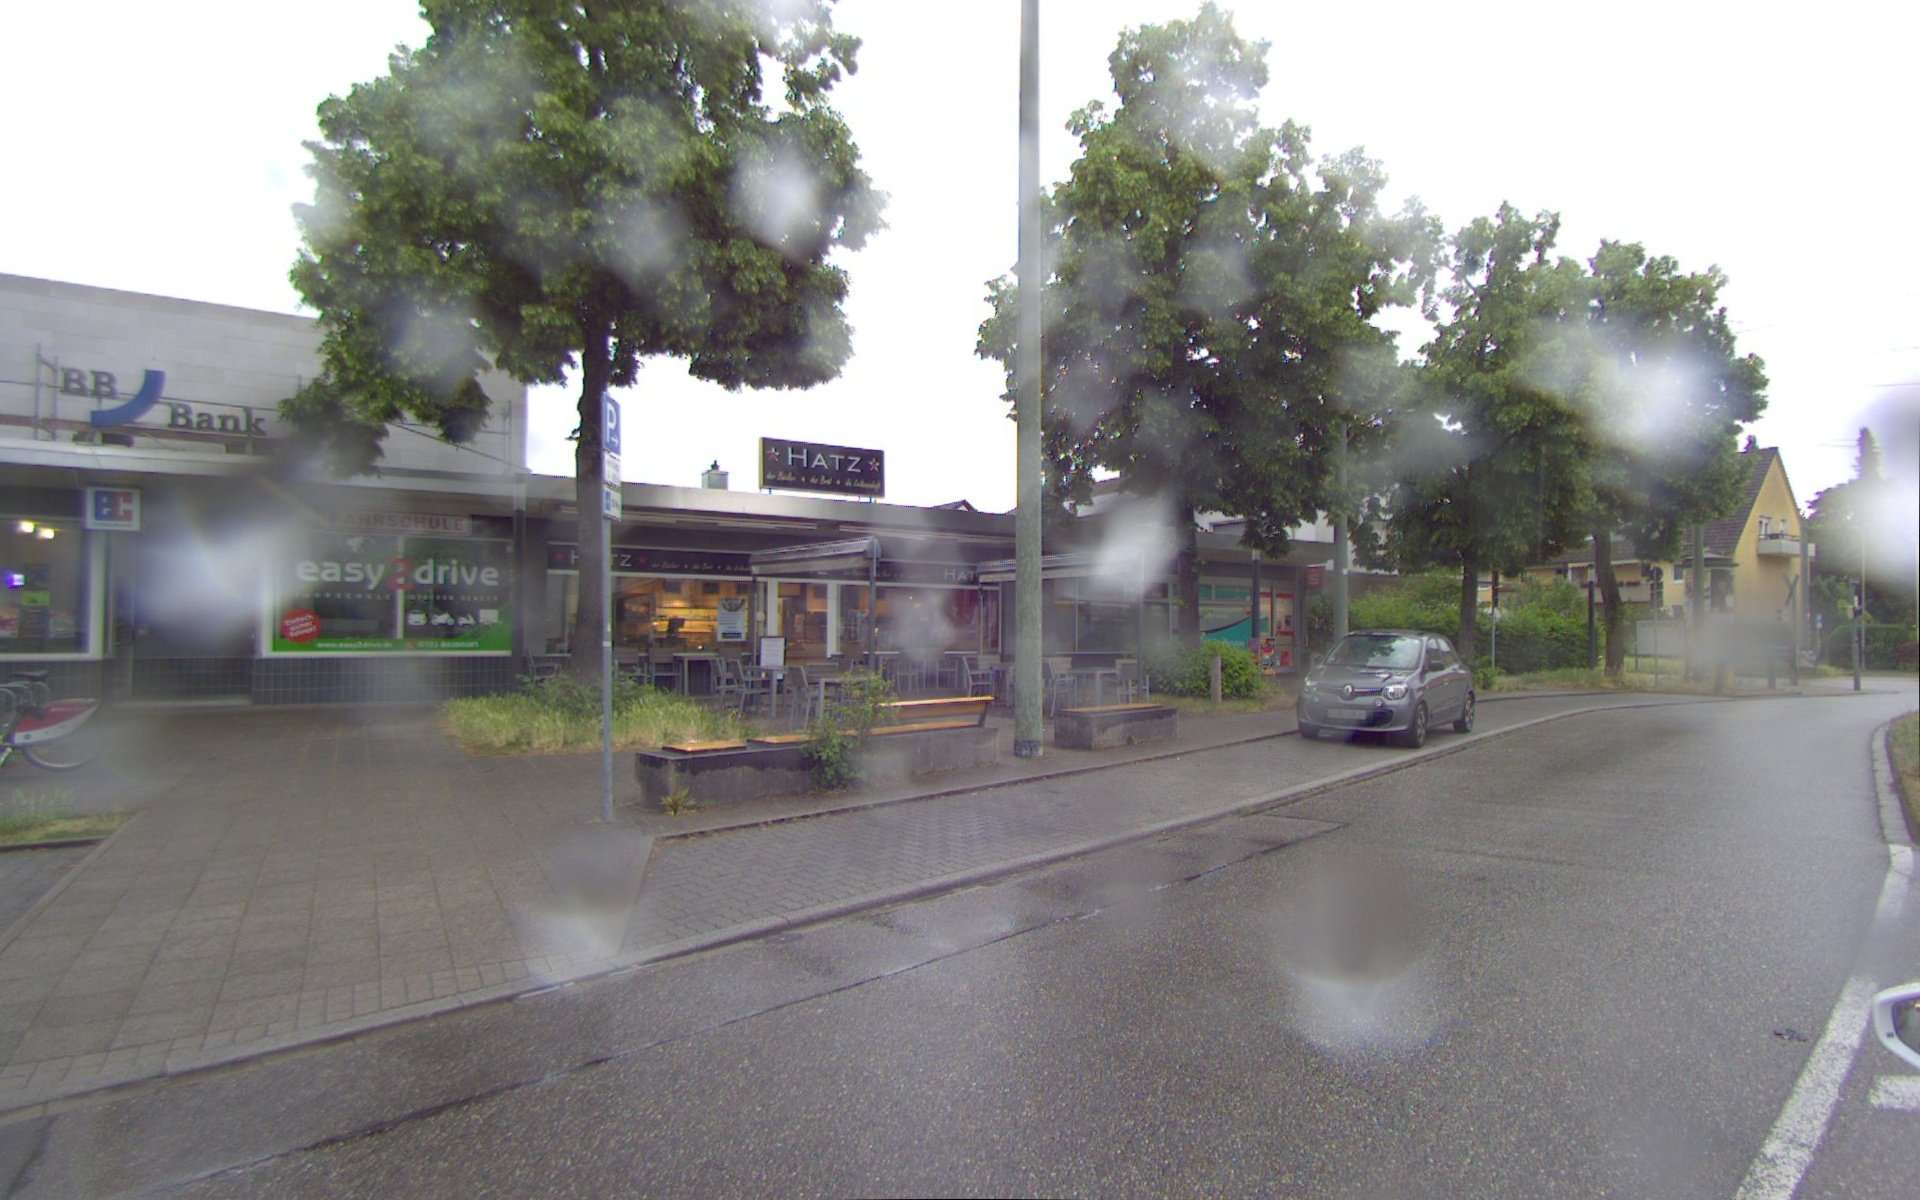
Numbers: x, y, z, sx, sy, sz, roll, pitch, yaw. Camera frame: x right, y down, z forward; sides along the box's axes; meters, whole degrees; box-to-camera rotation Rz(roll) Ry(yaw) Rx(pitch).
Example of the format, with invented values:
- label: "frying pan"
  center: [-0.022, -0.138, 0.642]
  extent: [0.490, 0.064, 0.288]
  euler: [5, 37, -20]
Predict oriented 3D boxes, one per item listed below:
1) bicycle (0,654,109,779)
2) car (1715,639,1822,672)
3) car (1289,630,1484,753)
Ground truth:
- label: "bicycle"
  center: [-9.005, 1.077, 9.248]
  extent: [0.314, 1.122, 1.739]
  euler: [2, 0, 43]
- label: "car"
  center: [41.957, 2.854, 52.186]
  extent: [1.815, 1.476, 3.960]
  euler: [2, 0, -35]
- label: "car"
  center: [6.377, 1.243, 14.825]
  extent: [1.598, 1.516, 3.649]
  euler: [2, 0, 40]
